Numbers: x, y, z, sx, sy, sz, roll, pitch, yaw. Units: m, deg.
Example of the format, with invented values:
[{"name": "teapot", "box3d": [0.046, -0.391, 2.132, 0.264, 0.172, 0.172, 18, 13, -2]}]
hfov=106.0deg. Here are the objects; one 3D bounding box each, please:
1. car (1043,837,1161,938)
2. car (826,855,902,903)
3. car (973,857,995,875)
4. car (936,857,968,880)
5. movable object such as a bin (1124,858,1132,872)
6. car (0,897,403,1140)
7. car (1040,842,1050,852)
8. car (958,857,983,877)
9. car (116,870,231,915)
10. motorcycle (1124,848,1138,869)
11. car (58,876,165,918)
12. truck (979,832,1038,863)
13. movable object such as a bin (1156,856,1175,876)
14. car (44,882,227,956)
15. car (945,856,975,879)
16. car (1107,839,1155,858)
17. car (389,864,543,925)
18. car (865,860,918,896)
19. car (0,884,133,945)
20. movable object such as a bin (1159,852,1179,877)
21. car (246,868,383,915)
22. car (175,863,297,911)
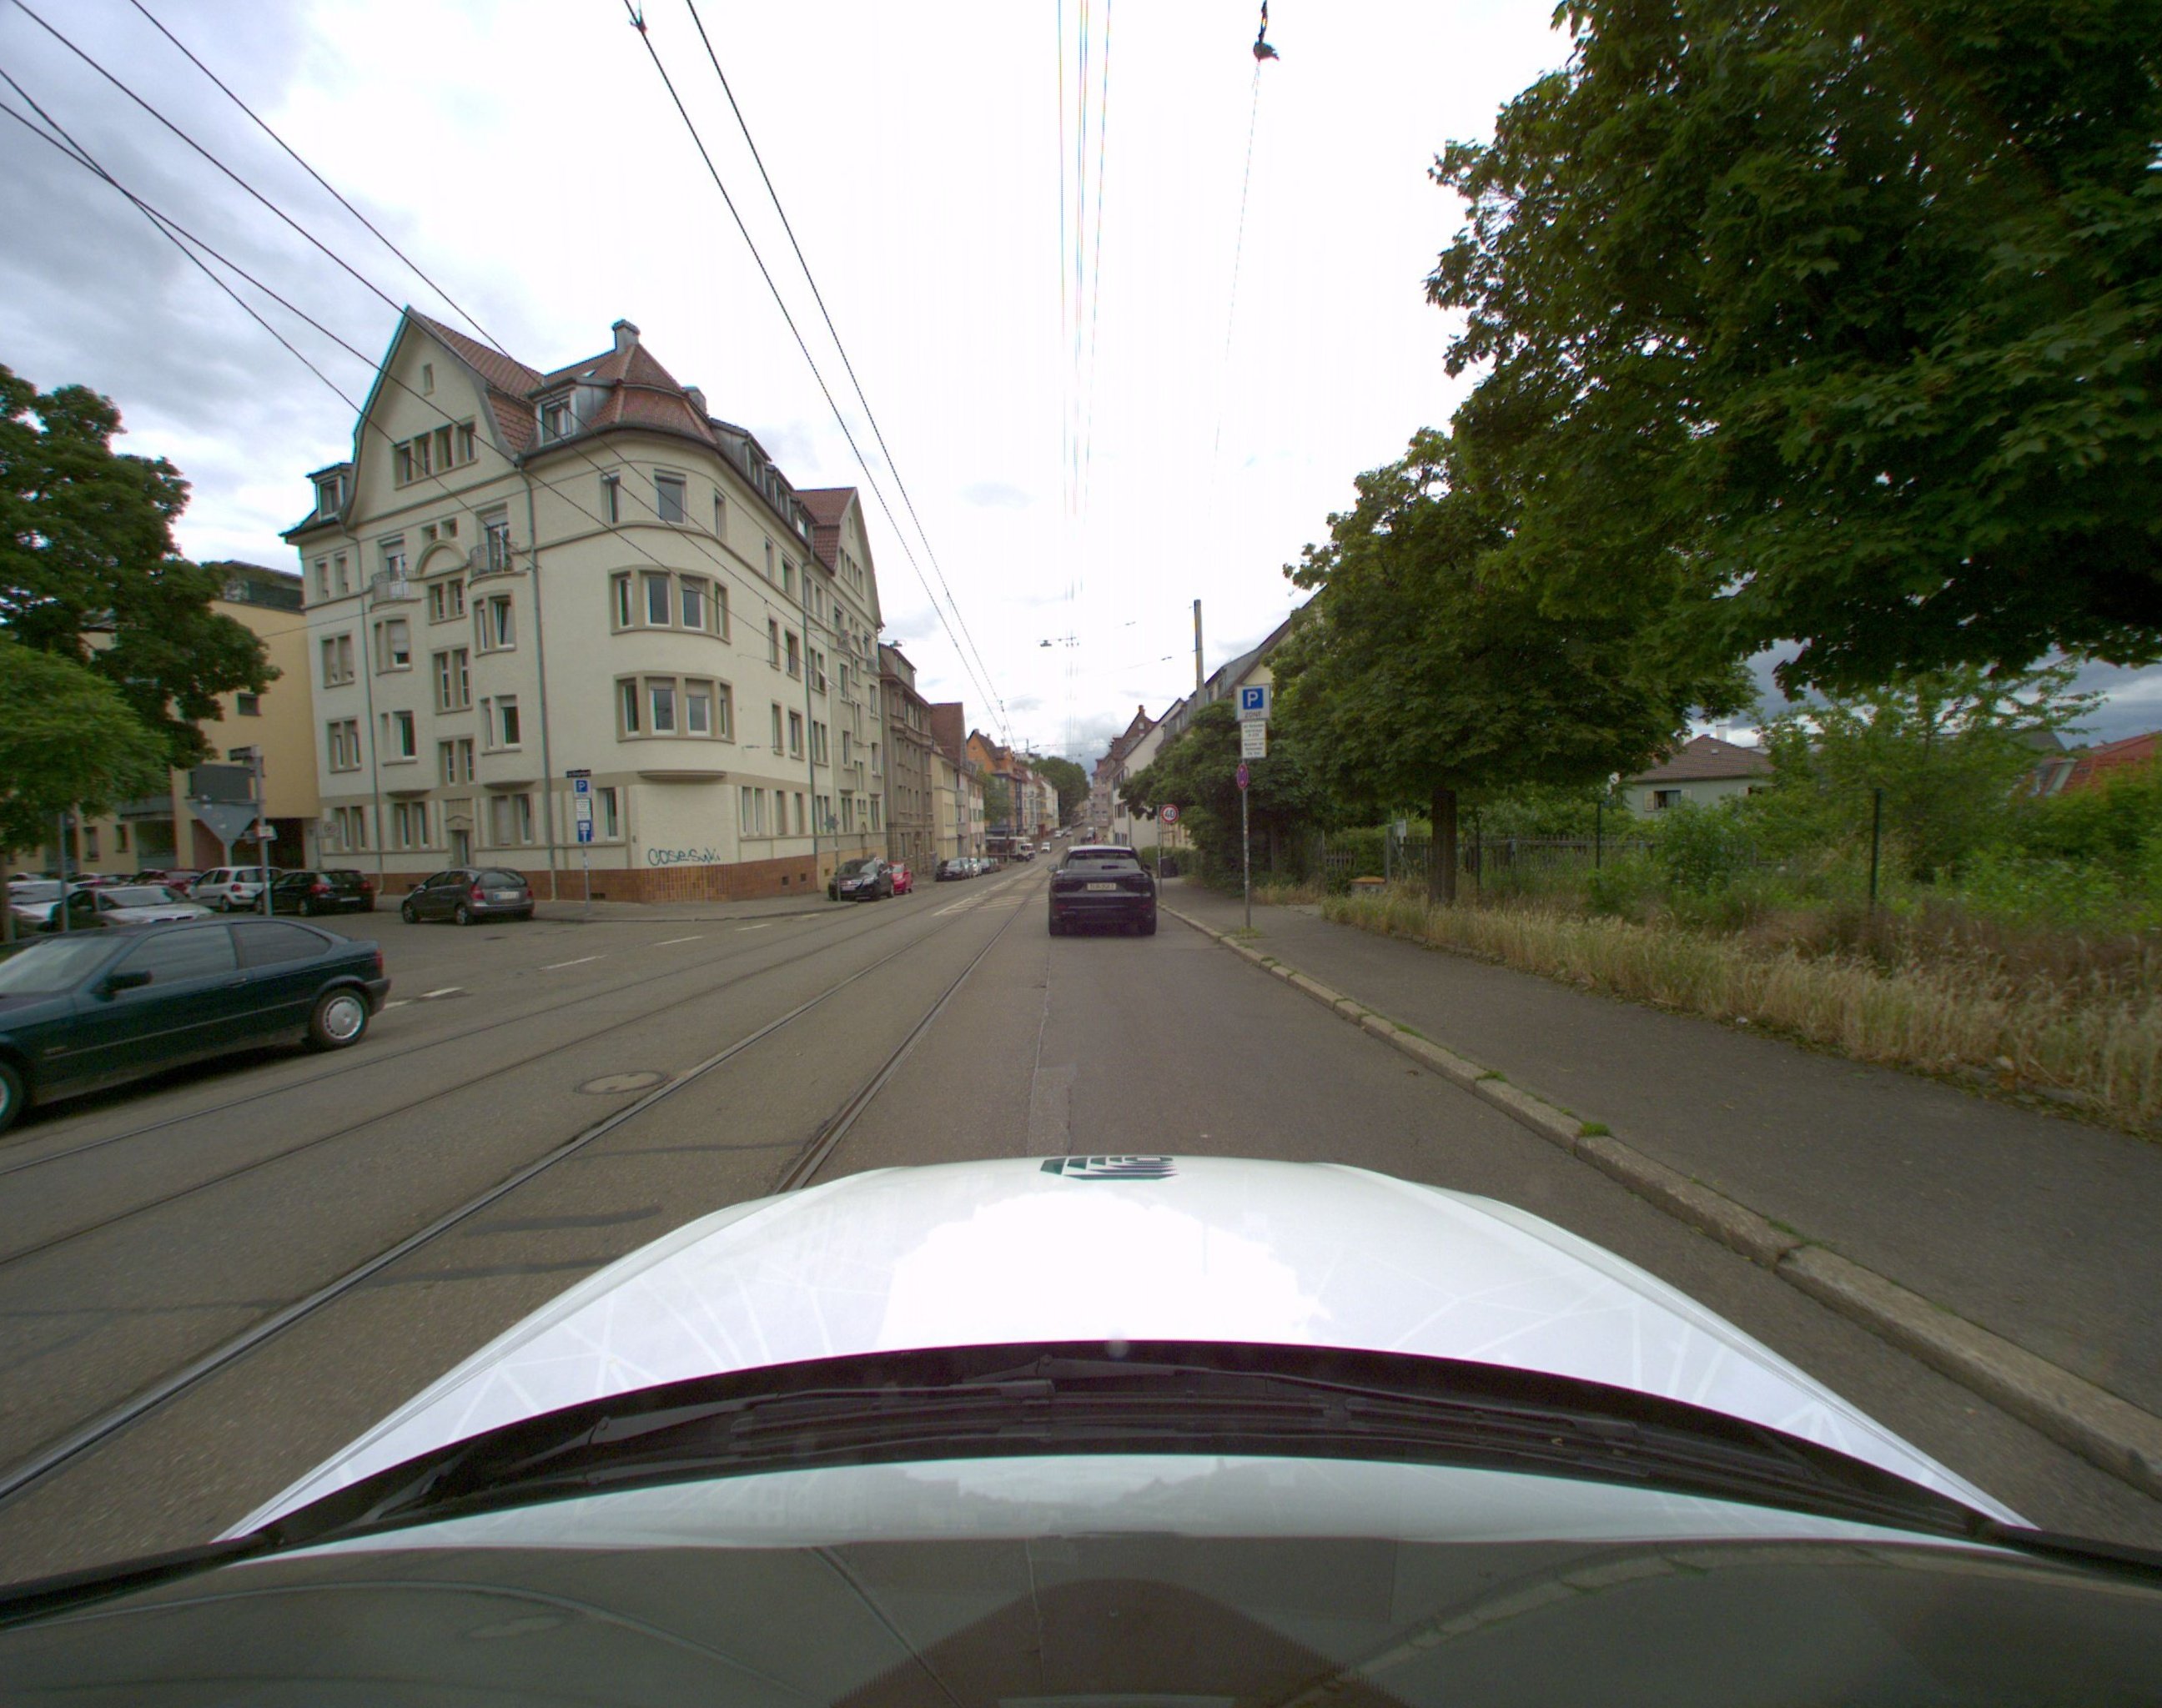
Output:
[{"name": "car", "box3d": [0.336, 0.585, 16.118, 1.988, 1.676, 3.998, -2, 0, -1]}, {"name": "car", "box3d": [-8.351, 0.949, 31.780, 1.863, 1.646, 4.398, -3, -1, -2]}, {"name": "car", "box3d": [-8.944, 1.103, 75.217, 1.617, 1.473, 4.552, -3, -1, -2]}, {"name": "car", "box3d": [-8.867, 1.003, 56.180, 1.617, 1.463, 4.029, -3, -1, -2]}, {"name": "movable object such as a bin", "box3d": [3.830, 0.905, 65.917, 0.586, 1.080, 0.692, -2, 0, 1]}, {"name": "car", "box3d": [-8.018, 1.209, 6.594, 1.617, 1.477, 4.152, -3, -1, -2]}, {"name": "car", "box3d": [-6.707, -1.294, 152.510, 1.745, 1.760, 4.253, -2, 0, 0]}, {"name": "car", "box3d": [-9.064, 1.069, 67.171, 1.617, 1.463, 3.681, -3, -1, -2]}, {"name": "car", "box3d": [-34.263, 1.470, 30.735, 3.950, 1.544, 1.771, -2, 0, 25]}, {"name": "motorcycle", "box3d": [3.640, 0.300, 59.408, 0.836, 1.456, 2.552, -2, 0, 0]}, {"name": "car", "box3d": [-39.106, 1.739, 32.838, 3.950, 1.544, 1.771, -2, 0, 25]}, {"name": "truck", "box3d": [-10.929, -0.973, 122.549, 8.492, 4.182, 2.271, -2, -3, 20]}, {"name": "movable object such as a bin", "box3d": [4.269, 0.604, 41.228, 0.790, 1.012, 0.788, -2, 0, -5]}, {"name": "car", "box3d": [-22.442, 1.467, 19.337, 3.951, 1.439, 1.771, 0, 2, 25]}, {"name": "car", "box3d": [-9.018, 1.030, 61.004, 1.617, 1.604, 4.347, -3, -1, -2]}, {"name": "car", "box3d": [7.030, -0.771, 114.126, 6.220, 2.290, 2.215, -2, 0, 28]}, {"name": "car", "box3d": [-17.777, 1.161, 23.542, 3.950, 1.571, 1.887, -2, 0, 25]}, {"name": "car", "box3d": [-8.657, 1.083, 37.531, 1.617, 1.463, 3.742, -3, -1, -2]}, {"name": "car", "box3d": [-27.571, 1.591, 21.836, 3.950, 1.419, 1.771, -2, 0, 25]}, {"name": "movable object such as a bin", "box3d": [4.369, 0.534, 40.461, 0.790, 1.218, 0.788, -2, 0, -5]}, {"name": "car", "box3d": [-25.179, 1.235, 26.756, 3.950, 1.354, 1.887, -2, 0, 25]}, {"name": "car", "box3d": [-30.061, 1.183, 28.971, 3.950, 1.544, 1.771, -2, 0, 25]}]
